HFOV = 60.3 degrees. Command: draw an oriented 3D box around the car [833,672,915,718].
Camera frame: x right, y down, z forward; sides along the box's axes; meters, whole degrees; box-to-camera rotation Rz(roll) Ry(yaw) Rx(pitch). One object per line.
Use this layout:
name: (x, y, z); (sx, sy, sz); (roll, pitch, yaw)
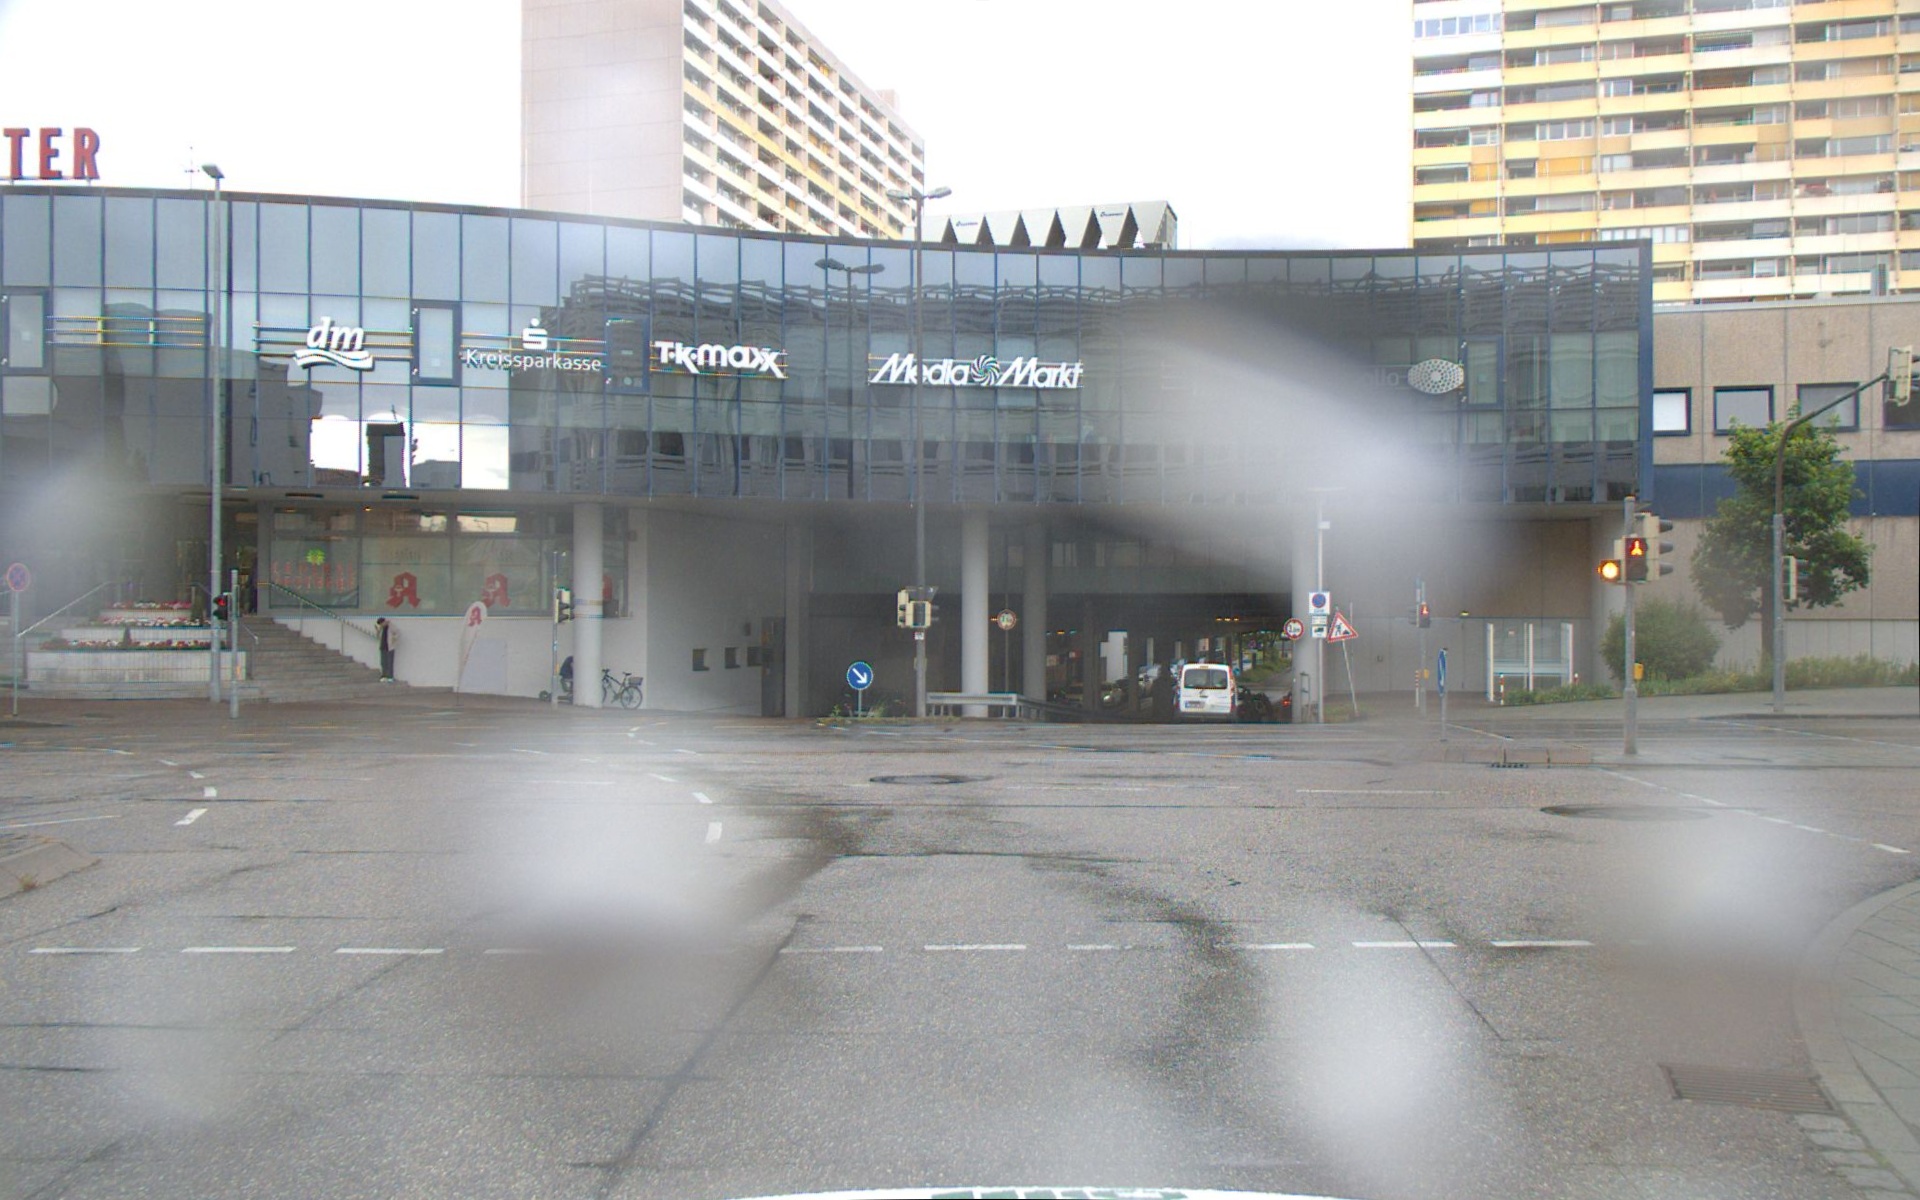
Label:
car: (-3.111, 3.513, 60.741); (1.852, 1.496, 4.029); (0, -6, 15)

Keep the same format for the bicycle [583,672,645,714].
bicycle: (-9.735, 2.623, 46.587); (1.567, 1.035, 0.447); (8, -4, -32)

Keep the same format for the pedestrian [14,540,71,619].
pedestrian: (-24.417, -0.540, 44.024); (0.812, 2.049, 0.953); (1, -1, 17)

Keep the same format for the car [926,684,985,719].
car: (-0.177, 4.467, 72.740); (1.733, 1.490, 3.878); (-1, -4, 14)

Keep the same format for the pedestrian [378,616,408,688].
pedestrian: (-15.435, 1.420, 45.006); (0.644, 1.942, 0.593); (1, -1, -10)

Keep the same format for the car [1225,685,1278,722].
car: (11.423, 4.056, 64.634); (1.741, 1.425, 4.002); (-1, -4, 14)

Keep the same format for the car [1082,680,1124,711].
car: (8.715, 5.764, 100.530); (1.951, 1.693, 4.003); (1, -1, 14)

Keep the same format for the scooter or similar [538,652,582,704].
scooter or similar: (-11.176, 2.173, 46.213); (1.147, 1.397, 0.487); (2, -1, -17)

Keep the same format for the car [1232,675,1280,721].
car: (12.371, 4.067, 69.059); (1.753, 1.802, 4.003); (-1, -2, 13)

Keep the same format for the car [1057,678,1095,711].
car: (6.673, 5.409, 94.658); (1.797, 1.758, 4.003); (0, -2, 10)

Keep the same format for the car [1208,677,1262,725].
car: (9.929, 3.650, 59.484); (1.598, 1.640, 4.265); (-1, -4, 13)

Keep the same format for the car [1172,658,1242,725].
car: (7.065, 2.595, 47.208); (1.884, 1.829, 4.299); (-1, -3, 9)
